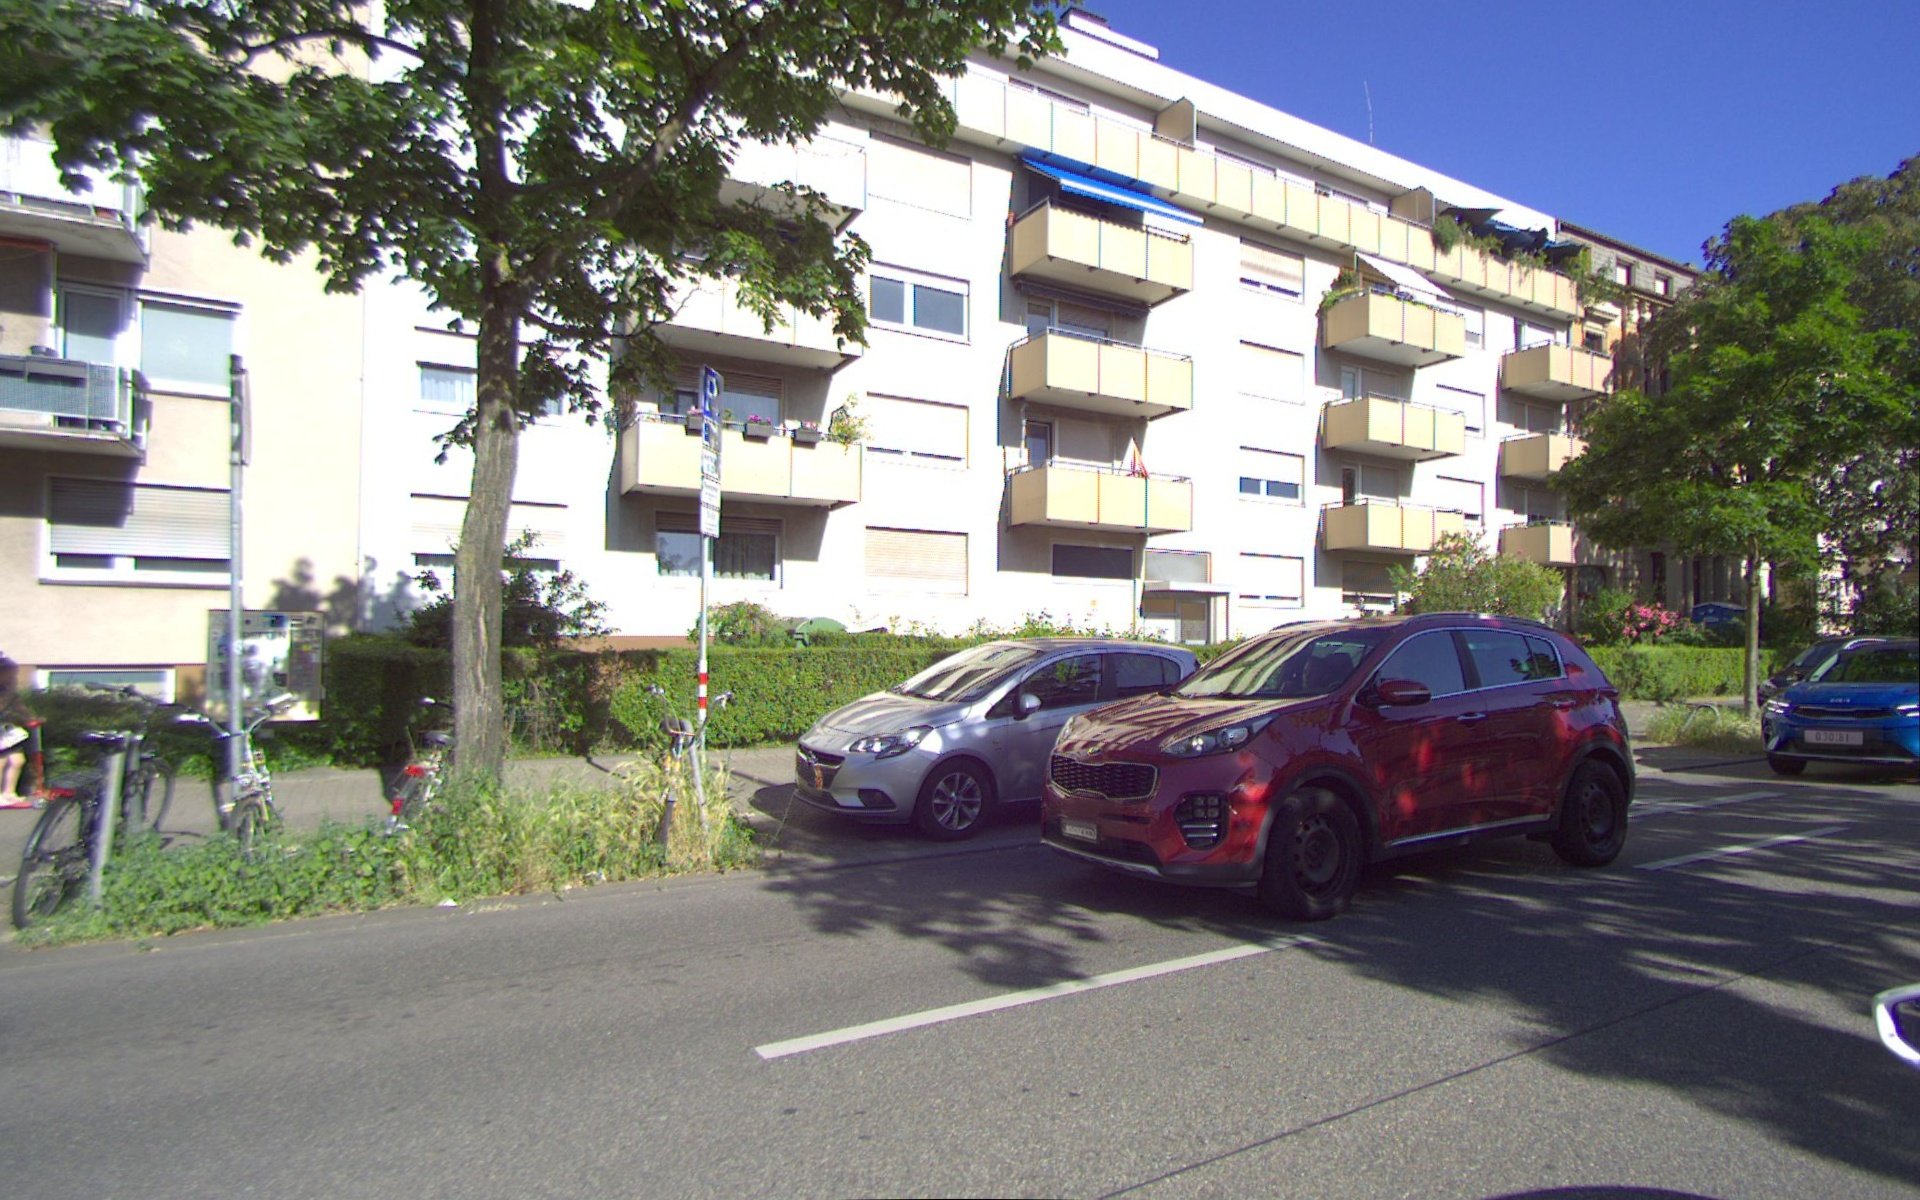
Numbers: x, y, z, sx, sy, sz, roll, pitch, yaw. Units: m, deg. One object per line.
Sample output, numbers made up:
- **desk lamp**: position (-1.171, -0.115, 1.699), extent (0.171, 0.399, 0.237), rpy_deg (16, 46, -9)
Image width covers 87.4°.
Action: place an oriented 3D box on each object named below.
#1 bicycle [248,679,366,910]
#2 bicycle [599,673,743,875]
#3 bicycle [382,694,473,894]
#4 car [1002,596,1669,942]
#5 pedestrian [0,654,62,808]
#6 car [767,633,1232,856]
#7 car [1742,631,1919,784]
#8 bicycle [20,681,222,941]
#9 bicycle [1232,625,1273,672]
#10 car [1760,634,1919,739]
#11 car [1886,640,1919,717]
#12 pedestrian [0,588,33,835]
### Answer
- **bicycle**: position (-4.112, 1.137, 6.408), extent (0.487, 1.101, 1.818), rpy_deg (2, 0, -29)
- **bicycle**: position (-2.097, 1.141, 7.127), extent (0.553, 1.101, 1.818), rpy_deg (2, 0, -29)
- **bicycle**: position (-3.455, 1.175, 6.484), extent (0.442, 0.978, 1.529), rpy_deg (2, 0, -29)
- **car**: position (2.541, 0.896, 6.592), extent (4.247, 1.638, 1.715), rpy_deg (1, -5, -29)
- **pedestrian**: position (-7.477, 1.026, 7.939), extent (0.484, 1.176, 0.333), rpy_deg (1, -1, -31)
- **car**: position (0.449, 1.040, 8.561), extent (3.856, 1.495, 1.494), rpy_deg (1, -1, -35)
- **car**: position (11.061, 1.175, 11.691), extent (4.028, 1.537, 1.649), rpy_deg (1, -5, -30)
- **bicycle**: position (-4.768, 1.104, 5.823), extent (0.553, 1.101, 1.818), rpy_deg (2, 0, -29)
- **bicycle**: position (7.095, 1.164, 24.389), extent (0.494, 1.075, 1.559), rpy_deg (0, 0, -2)
- **car**: position (16.088, 1.441, 17.752), extent (4.344, 1.626, 1.662), rpy_deg (1, -1, -31)
- **car**: position (20.568, 1.581, 20.282), extent (3.882, 1.496, 1.595), rpy_deg (1, -1, -28)
- **pedestrian**: position (-7.165, 0.765, 6.970), extent (0.919, 1.709, 0.666), rpy_deg (1, -1, -31)
